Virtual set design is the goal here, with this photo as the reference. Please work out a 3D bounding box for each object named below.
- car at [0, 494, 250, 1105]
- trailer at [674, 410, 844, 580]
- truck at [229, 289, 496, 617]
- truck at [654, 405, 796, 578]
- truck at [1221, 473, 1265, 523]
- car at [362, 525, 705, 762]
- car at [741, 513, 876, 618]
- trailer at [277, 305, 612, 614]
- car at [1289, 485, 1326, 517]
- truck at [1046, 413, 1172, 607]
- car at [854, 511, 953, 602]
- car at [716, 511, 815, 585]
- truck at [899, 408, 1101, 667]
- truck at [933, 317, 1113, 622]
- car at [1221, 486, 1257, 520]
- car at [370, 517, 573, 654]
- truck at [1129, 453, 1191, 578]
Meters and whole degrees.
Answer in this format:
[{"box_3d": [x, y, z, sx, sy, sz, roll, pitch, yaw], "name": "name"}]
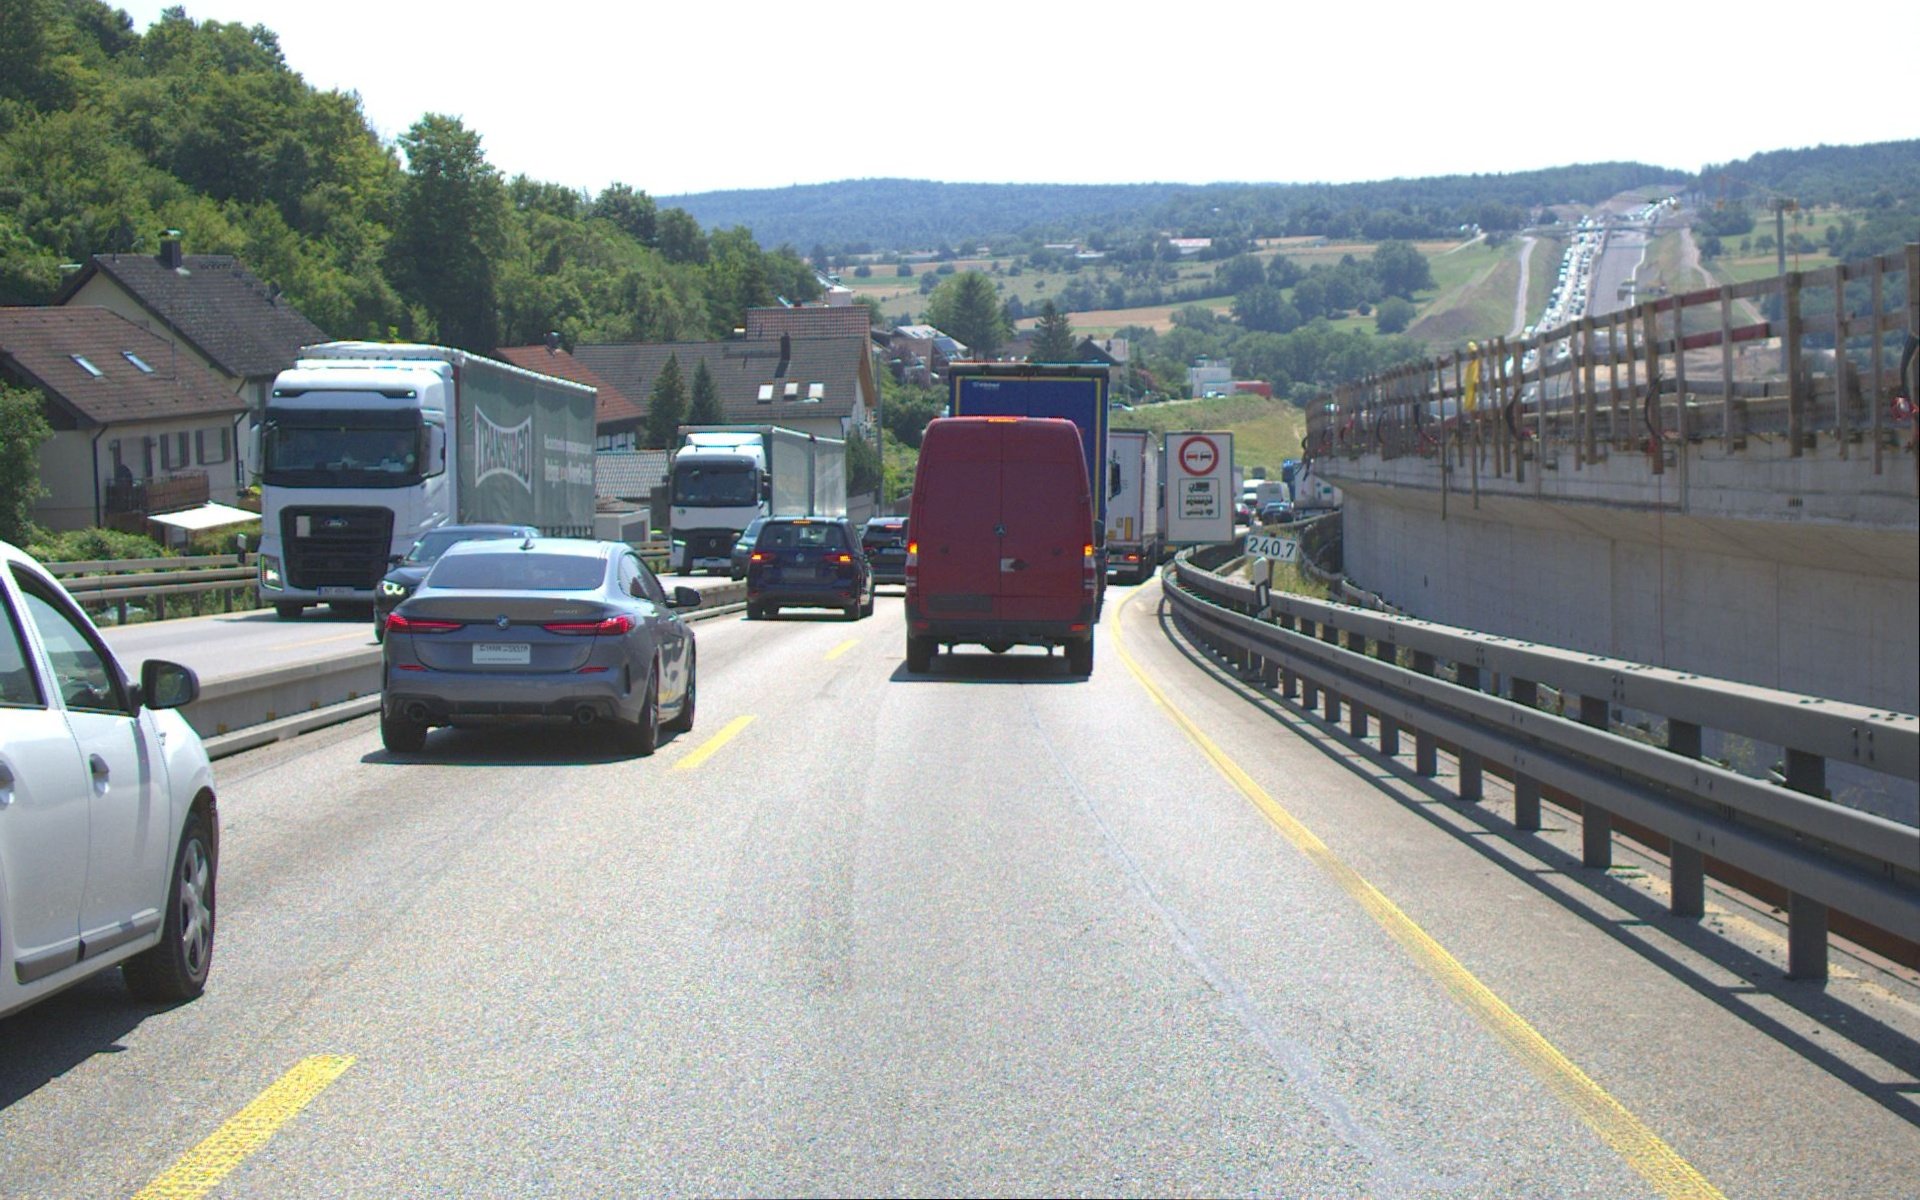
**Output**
[{"box_3d": [-3.168, 0.492, 9.183, 1.651, 1.478, 4.267, -1, 1, 0], "name": "car"}, {"box_3d": [-5.734, -2.912, 101.226, 2.834, 4.625, 14.578, 1, 0, 5], "name": "trailer"}, {"box_3d": [-9.149, -2.195, 53.156, 3.061, 4.805, 4.645, 1, 0, 3], "name": "truck"}, {"box_3d": [-6.417, -2.923, 94.609, 2.847, 4.564, 5.786, 1, 0, 7], "name": "truck"}, {"box_3d": [9.064, -3.262, 110.254, 1.314, 1.537, 3.151, 1, 0, 4], "name": "truck"}, {"box_3d": [-2.835, 0.233, 23.658, 1.795, 1.480, 4.050, 0, 1, 1], "name": "car"}, {"box_3d": [-2.389, -0.543, 55.060, 1.810, 1.602, 3.719, 1, 0, 3], "name": "car"}, {"box_3d": [-8.763, -2.242, 60.693, 3.065, 4.799, 14.001, 1, 0, 3], "name": "trailer"}, {"box_3d": [22.568, -6.432, 223.366, 2.132, 2.007, 3.998, 1, 0, 9], "name": "car"}, {"box_3d": [3.850, -2.281, 90.848, 2.786, 4.799, 9.685, 1, 0, 0], "name": "truck"}, {"box_3d": [-1.149, -0.898, 71.731, 1.729, 1.832, 3.999, 1, 0, 4], "name": "car"}, {"box_3d": [-4.515, -1.232, 80.286, 1.957, 1.675, 4.114, 0, 1, 2], "name": "car"}, {"box_3d": [0.446, -0.644, 36.498, 1.993, 2.570, 4.000, 1, 0, 1], "name": "truck"}, {"box_3d": [0.969, -2.099, 59.380, 2.786, 4.799, 9.685, 1, 0, 0], "name": "truck"}, {"box_3d": [17.351, -6.012, 213.613, 1.804, 2.007, 3.999, 2, 1, 10], "name": "car"}, {"box_3d": [-6.168, -0.192, 43.927, 1.993, 1.634, 4.854, 1, 0, -1], "name": "car"}, {"box_3d": [7.153, -2.989, 122.619, 1.994, 4.366, 3.999, 1, 0, 5], "name": "truck"}]
